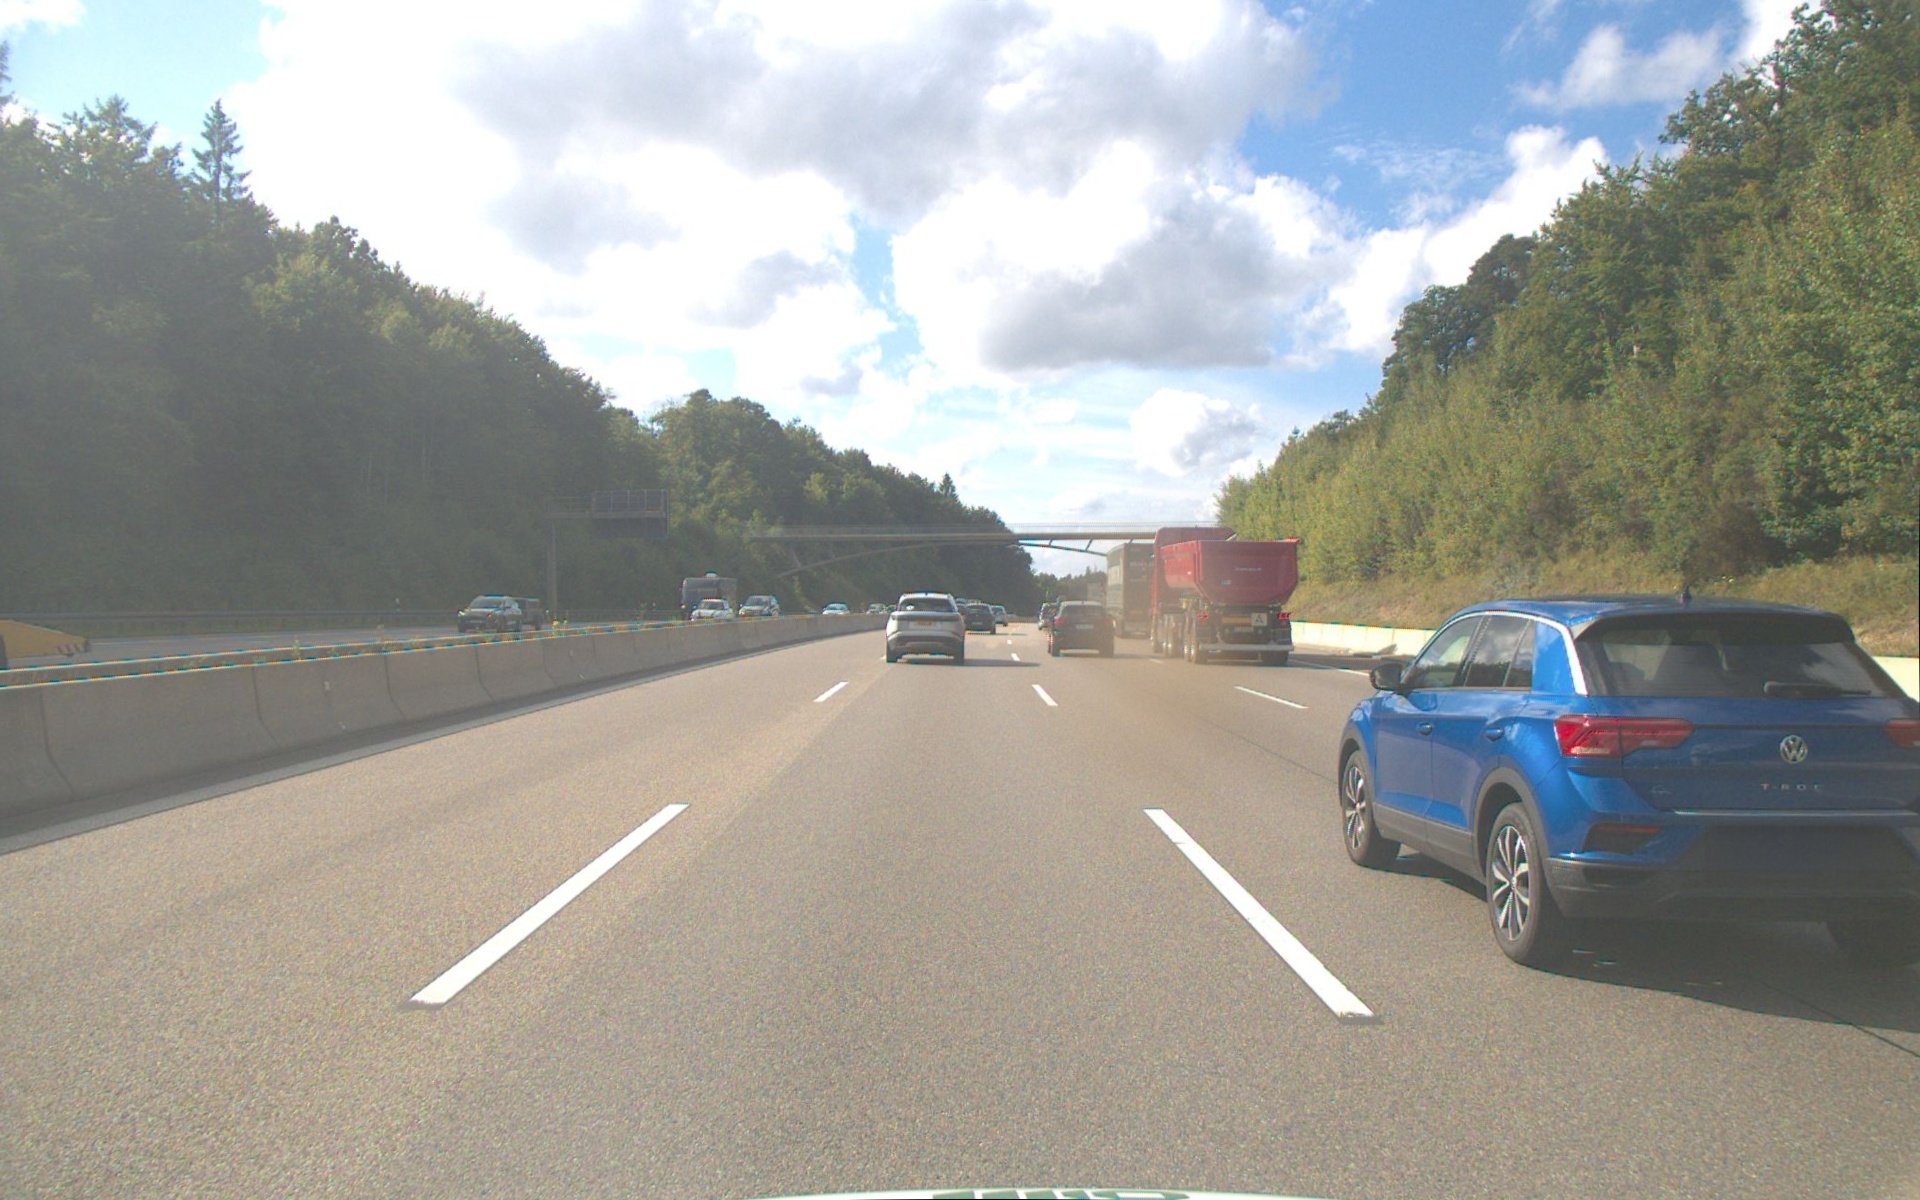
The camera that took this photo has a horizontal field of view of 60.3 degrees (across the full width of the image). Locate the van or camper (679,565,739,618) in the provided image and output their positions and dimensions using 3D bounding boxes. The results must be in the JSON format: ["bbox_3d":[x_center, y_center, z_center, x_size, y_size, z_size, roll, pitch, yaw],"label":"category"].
[{"bbox_3d":[-15.586,-0.506,103.018,2.506,3.180,7.334,1,0,0],"label":"van or camper"}]

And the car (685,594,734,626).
[{"bbox_3d":[-12.672,0.471,83.999,1.777,1.562,4.316,1,0,0],"label":"car"}]

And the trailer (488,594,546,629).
[{"bbox_3d":[-19.196,0.485,71.779,1.625,1.438,3.709,1,0,-2],"label":"trailer"}]

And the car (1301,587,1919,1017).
[{"bbox_3d":[3.121,0.725,8.327,1.737,1.557,4.456,-1,0,-2],"label":"car"}]

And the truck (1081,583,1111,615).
[{"bbox_3d":[13.037,-0.086,157.989,2.784,2.976,8.390,1,0,5],"label":"truck"}]

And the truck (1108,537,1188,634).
[{"bbox_3d":[8.309,-0.616,74.199,3.053,4.003,10.416,1,0,4],"label":"truck"}]

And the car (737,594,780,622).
[{"bbox_3d":[-11.929,0.466,98.234,1.883,1.567,4.702,1,0,0],"label":"car"}]

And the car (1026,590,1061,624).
[{"bbox_3d":[4.888,0.401,97.314,1.855,1.889,4.100,1,0,1],"label":"car"}]

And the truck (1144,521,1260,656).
[{"bbox_3d":[7.162,-0.336,49.665,2.654,3.784,5.818,1,0,1],"label":"truck"}]

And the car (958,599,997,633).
[{"bbox_3d":[0.880,0.755,80.515,1.784,1.573,4.001,2,0,2],"label":"car"}]

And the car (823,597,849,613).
[{"bbox_3d":[-10.232,0.398,136.728,1.807,1.319,4.259,1,0,0],"label":"car"}]

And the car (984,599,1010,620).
[{"bbox_3d":[2.719,0.663,120.227,1.784,1.483,4.002,1,0,3],"label":"car"}]

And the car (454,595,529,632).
[{"bbox_3d":[-19.053,0.518,67.429,1.776,1.414,4.935,1,0,-2],"label":"car"}]

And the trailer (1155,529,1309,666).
[{"bbox_3d":[7.124,-0.073,44.748,2.654,3.288,9.733,1,0,1],"label":"trailer"}]

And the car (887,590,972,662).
[{"bbox_3d":[-0.746,0.592,41.280,1.965,1.644,5.300,1,0,-1],"label":"car"}]

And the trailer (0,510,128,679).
[{"bbox_3d":[-17.142,-0.094,24.591,2.719,2.767,13.312,1,0,0],"label":"trailer"}]

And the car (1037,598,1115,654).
[{"bbox_3d":[3.254,0.705,46.923,1.785,1.483,3.998,1,0,-2],"label":"car"}]
